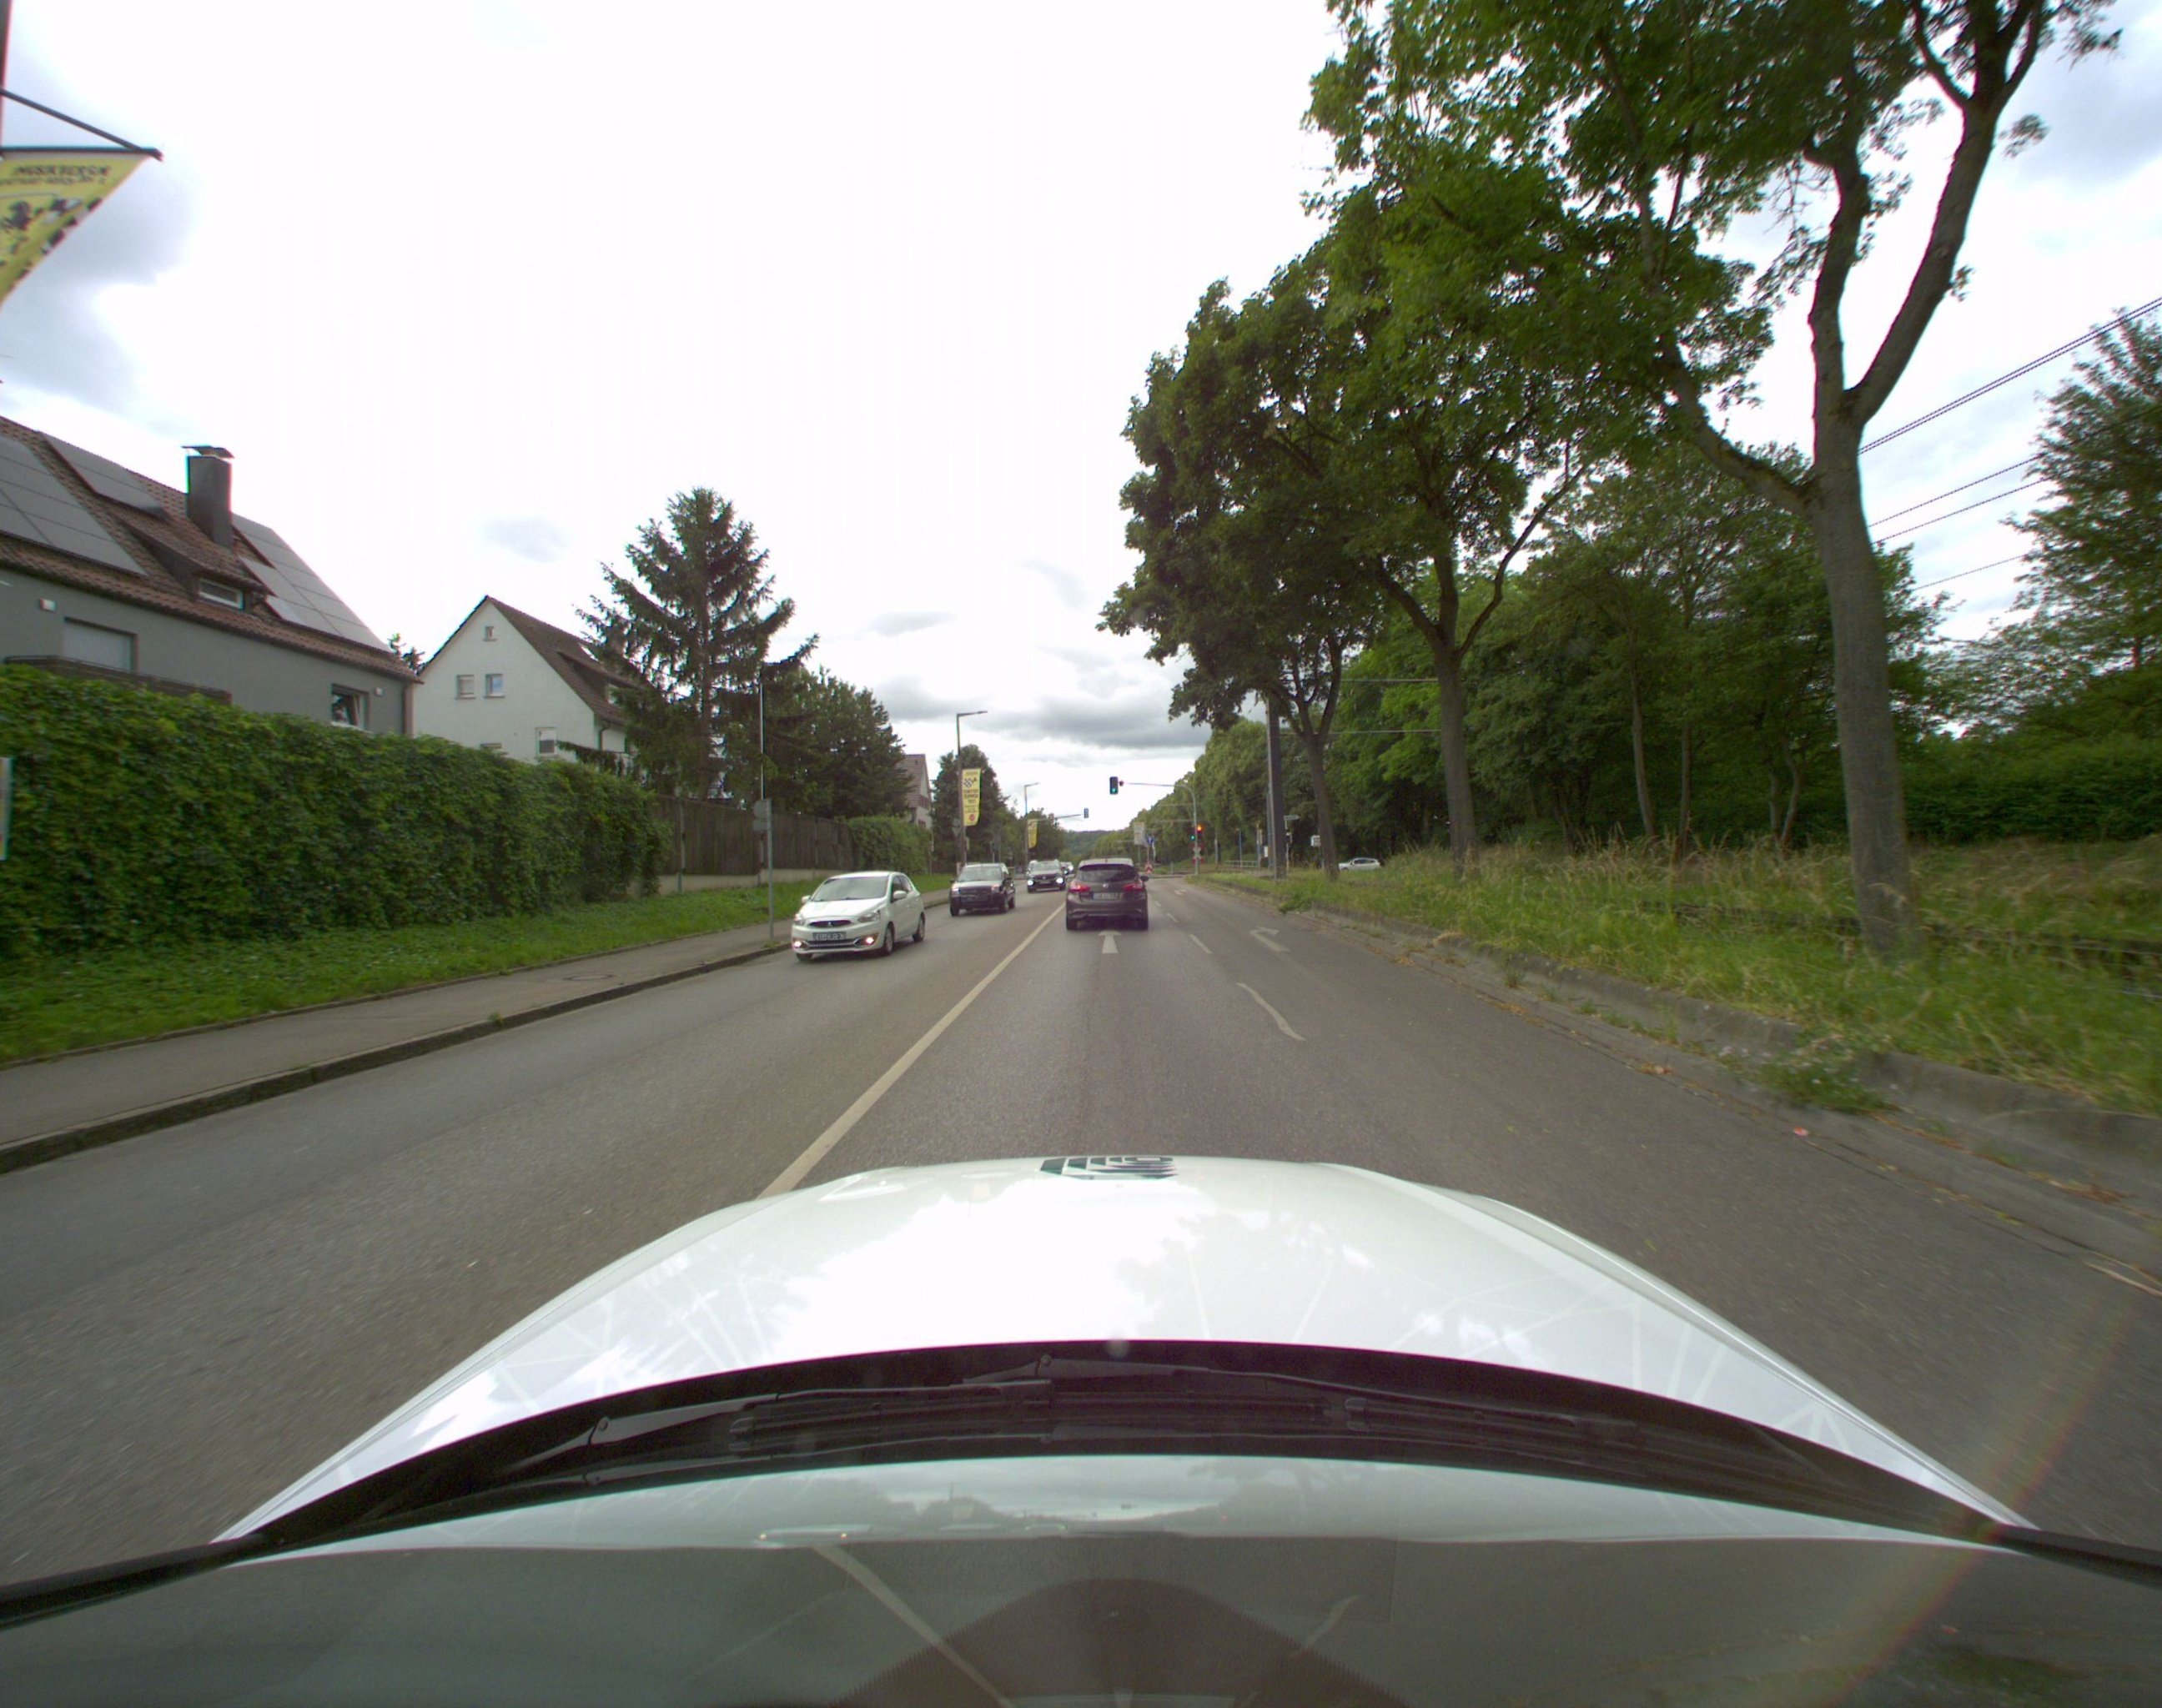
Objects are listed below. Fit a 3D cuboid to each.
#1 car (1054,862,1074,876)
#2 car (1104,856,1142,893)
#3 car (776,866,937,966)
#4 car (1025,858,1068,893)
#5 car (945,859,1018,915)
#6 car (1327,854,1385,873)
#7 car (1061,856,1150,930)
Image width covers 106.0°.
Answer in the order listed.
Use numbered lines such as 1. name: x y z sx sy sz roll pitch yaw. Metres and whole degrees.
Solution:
1. car: -1.722 1.586 85.241 1.805 1.373 4.163 1 0 3
2. car: 1.807 0.876 35.696 1.532 1.478 3.766 -2 0 2
3. car: -4.051 1.053 15.403 1.611 1.461 4.075 -5 0 3
4. car: -1.660 1.019 40.310 1.806 1.524 4.177 -4 0 0
5. car: -3.035 0.961 25.534 1.637 1.481 4.107 -4 0 1
6. car: 22.250 0.750 65.960 3.979 1.354 1.997 2 -1 -4
7. car: 0.597 0.813 19.008 1.828 1.519 4.485 0 0 2
